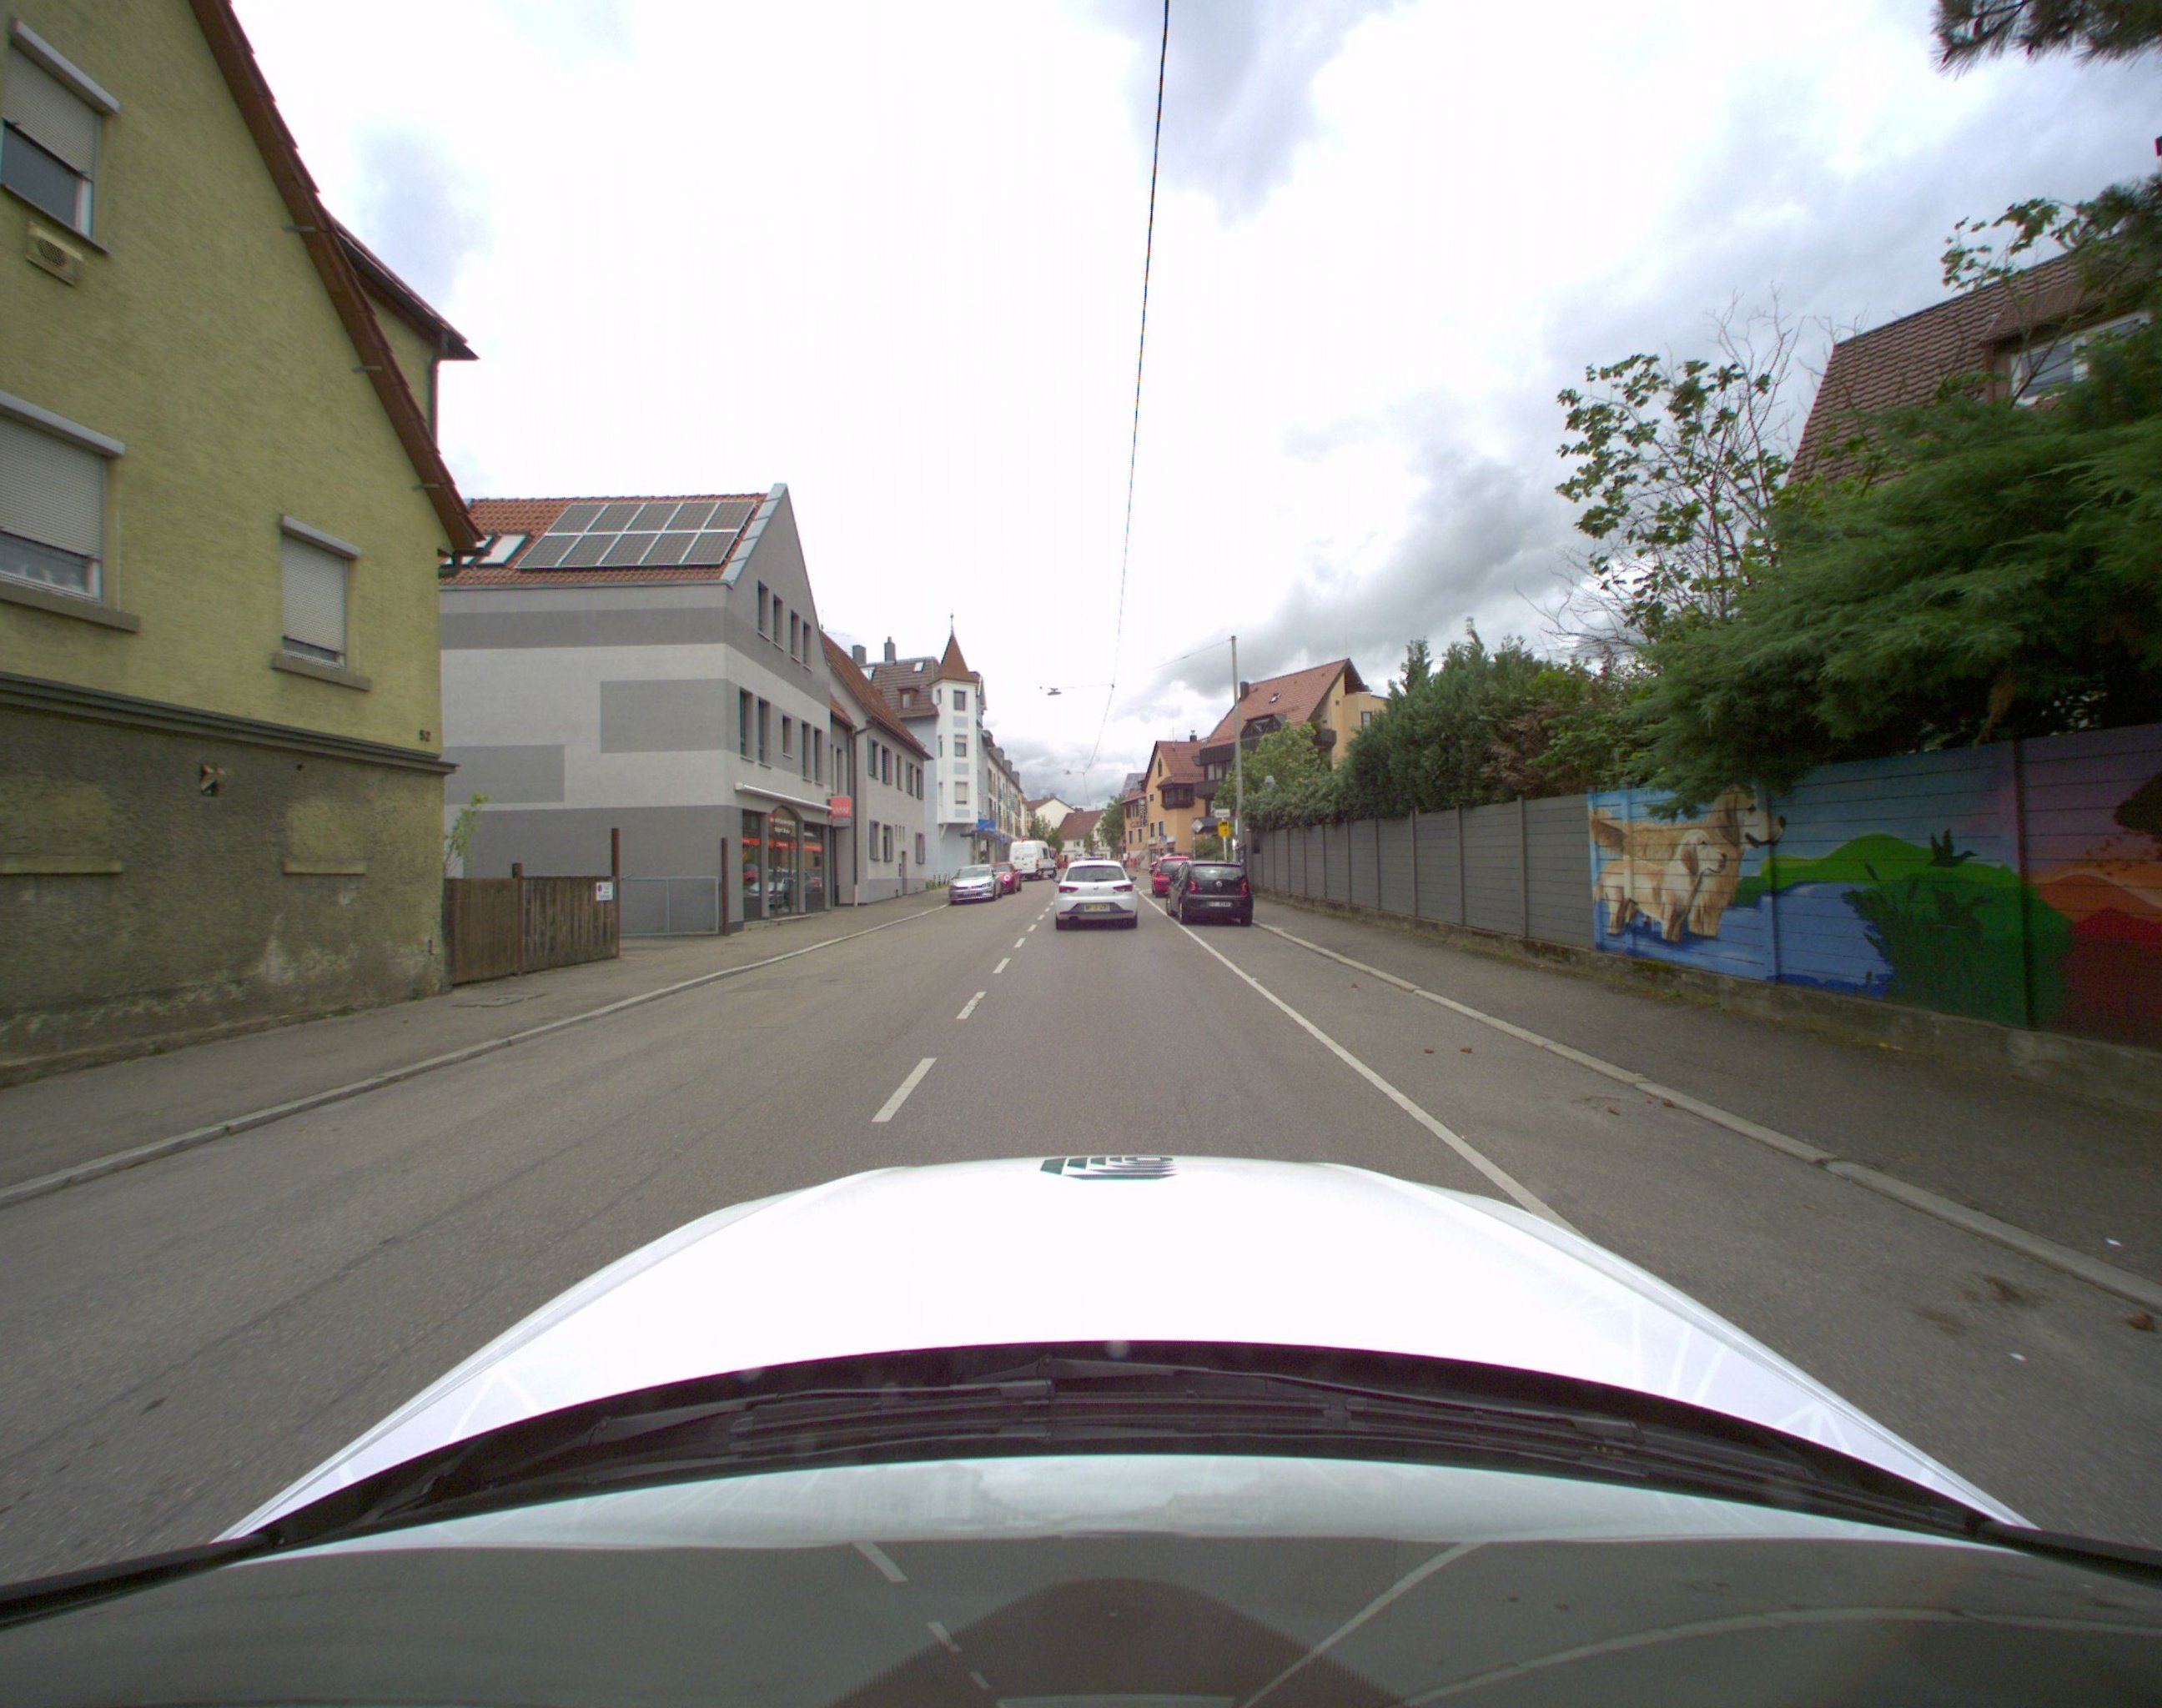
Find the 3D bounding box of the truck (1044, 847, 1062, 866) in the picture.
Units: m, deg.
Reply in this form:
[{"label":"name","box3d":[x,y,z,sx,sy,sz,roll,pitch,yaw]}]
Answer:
[{"label":"truck","box3d":[-3.731,0.290,109.339,2.144,2.459,5.396,-1,0,1]}]

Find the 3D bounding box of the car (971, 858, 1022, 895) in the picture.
[{"label":"car","box3d":[-3.832,1.016,37.735,1.793,1.479,4.051,-4,0,1]}]

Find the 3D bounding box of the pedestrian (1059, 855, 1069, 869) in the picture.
[{"label":"pedestrian","box3d":[-2.355,1.122,113.885,1.224,2.013,1.176,-1,0,1]}]

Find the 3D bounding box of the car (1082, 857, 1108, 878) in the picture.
[{"label":"car","box3d":[1.036,0.964,59.446,1.752,1.452,4.001,-2,0,1]}]

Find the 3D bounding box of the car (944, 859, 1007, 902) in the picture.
[{"label":"car","box3d":[-4.091,0.994,32.207,1.793,1.479,4.051,-4,0,1]}]

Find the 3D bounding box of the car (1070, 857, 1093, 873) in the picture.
[{"label":"car","box3d":[-0.011,1.004,76.120,1.756,1.452,3.993,-2,0,-5]}]

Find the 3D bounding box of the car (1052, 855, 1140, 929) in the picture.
[{"label":"car","box3d":[0.346,0.782,18.488,1.752,1.452,4.001,-2,0,1]}]

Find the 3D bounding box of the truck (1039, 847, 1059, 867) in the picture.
[{"label":"truck","box3d":[-3.988,0.358,103.427,2.144,2.459,5.396,-1,0,1]}]

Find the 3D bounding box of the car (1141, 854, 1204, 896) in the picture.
[{"label":"car","box3d":[3.387,0.747,30.772,1.754,1.452,3.997,-2,0,-2]}]

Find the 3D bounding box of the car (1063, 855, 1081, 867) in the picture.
[{"label":"car","box3d":[-1.350,0.997,119.679,1.782,1.701,4.013,-1,0,11]}]

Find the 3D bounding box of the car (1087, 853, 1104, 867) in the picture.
[{"label":"car","box3d":[1.622,0.638,90.742,1.755,1.497,3.789,-1,0,1]}]

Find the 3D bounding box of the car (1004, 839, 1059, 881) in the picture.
[{"label":"car","box3d":[-3.284,0.405,55.147,2.137,2.687,5.565,-1,0,13]}]

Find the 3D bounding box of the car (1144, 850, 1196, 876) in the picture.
[{"label":"car","box3d":[5.484,0.547,50.234,2.808,1.512,1.703,0,1,-10]}]

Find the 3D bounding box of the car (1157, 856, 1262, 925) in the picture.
[{"label":"car","box3d":[2.974,0.797,19.673,1.754,1.452,3.997,-2,0,-2]}]
